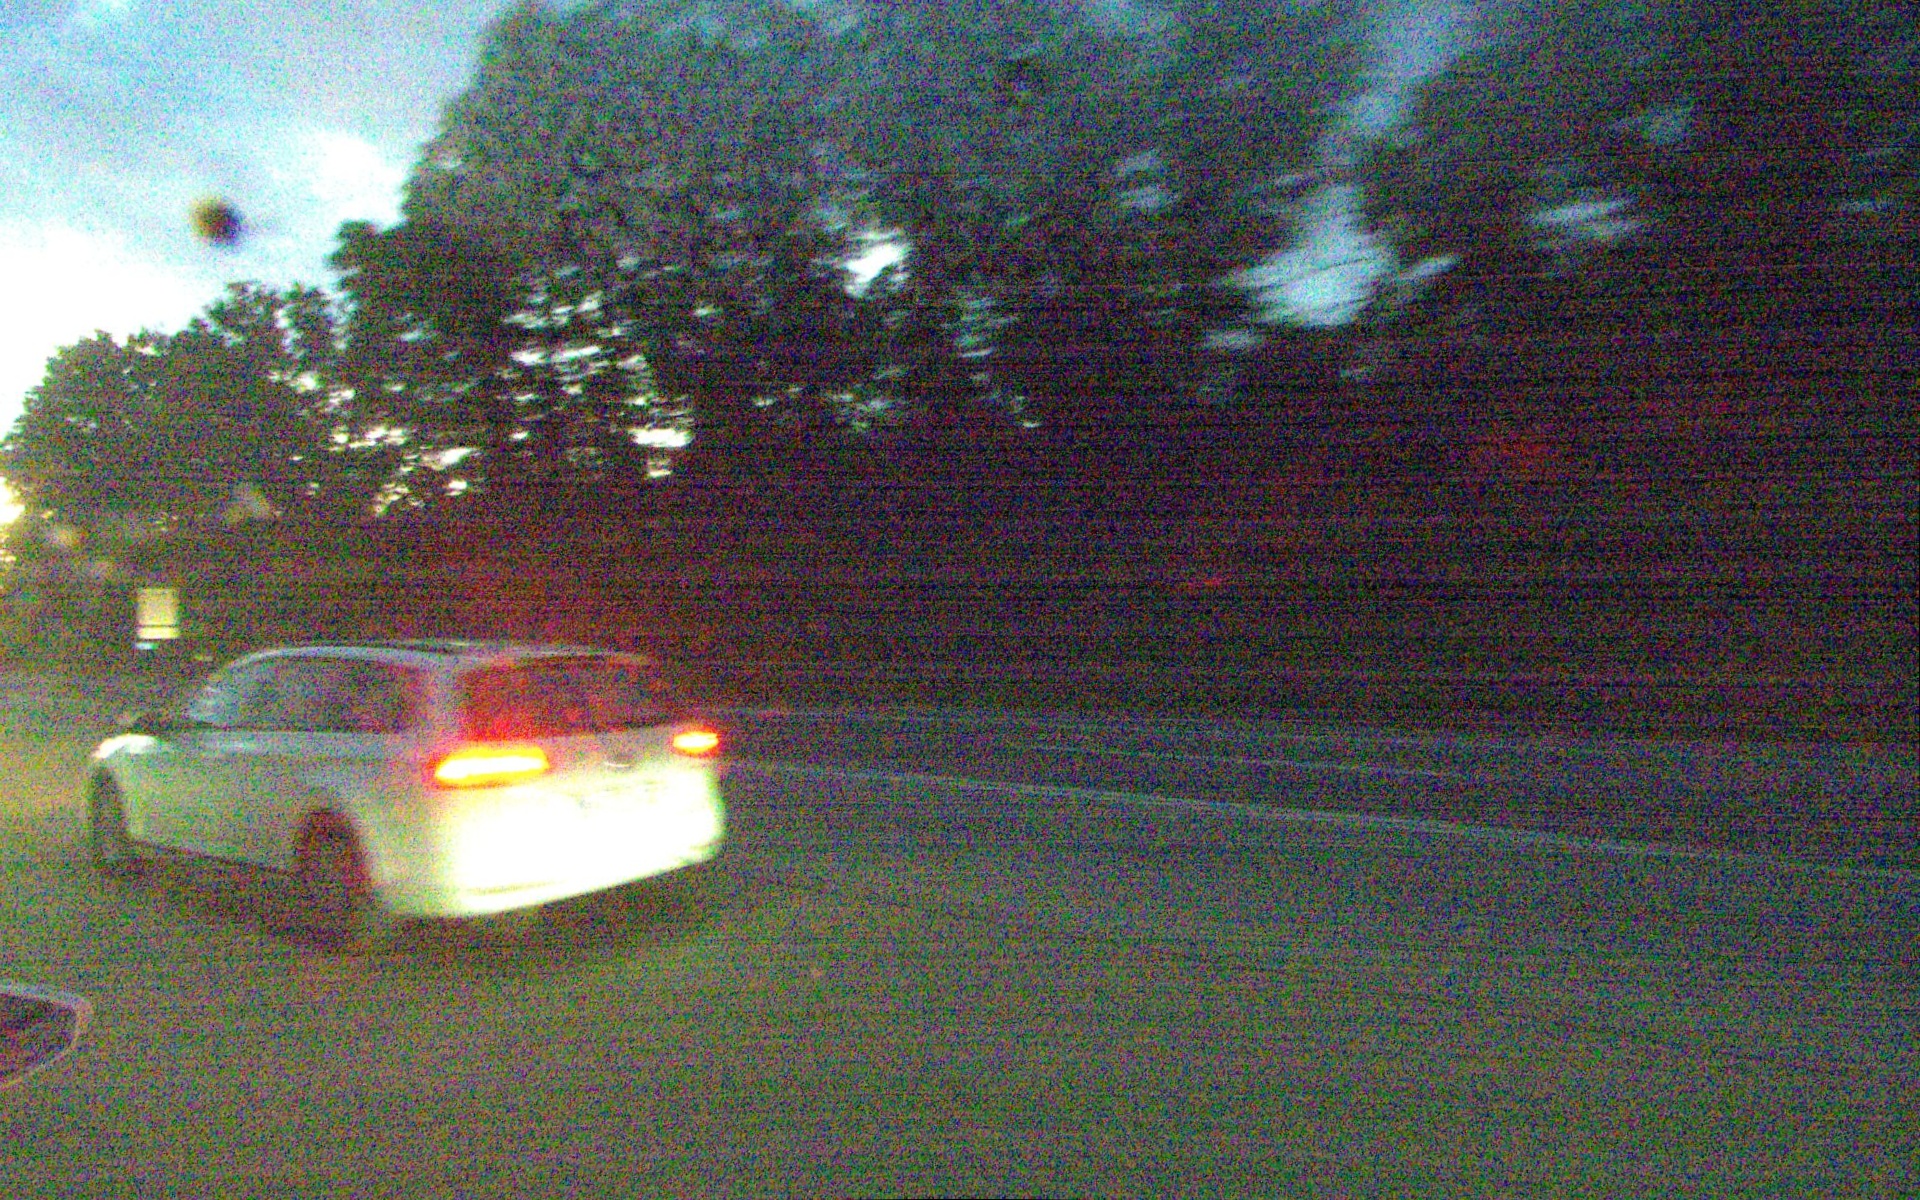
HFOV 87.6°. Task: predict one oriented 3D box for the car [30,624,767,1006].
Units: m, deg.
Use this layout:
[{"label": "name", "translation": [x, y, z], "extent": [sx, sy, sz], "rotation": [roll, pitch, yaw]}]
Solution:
[{"label": "car", "translation": [-3.681, 0.915, 6.162], "extent": [5.059, 1.485, 1.805], "rotation": [0, -1, 33]}]
